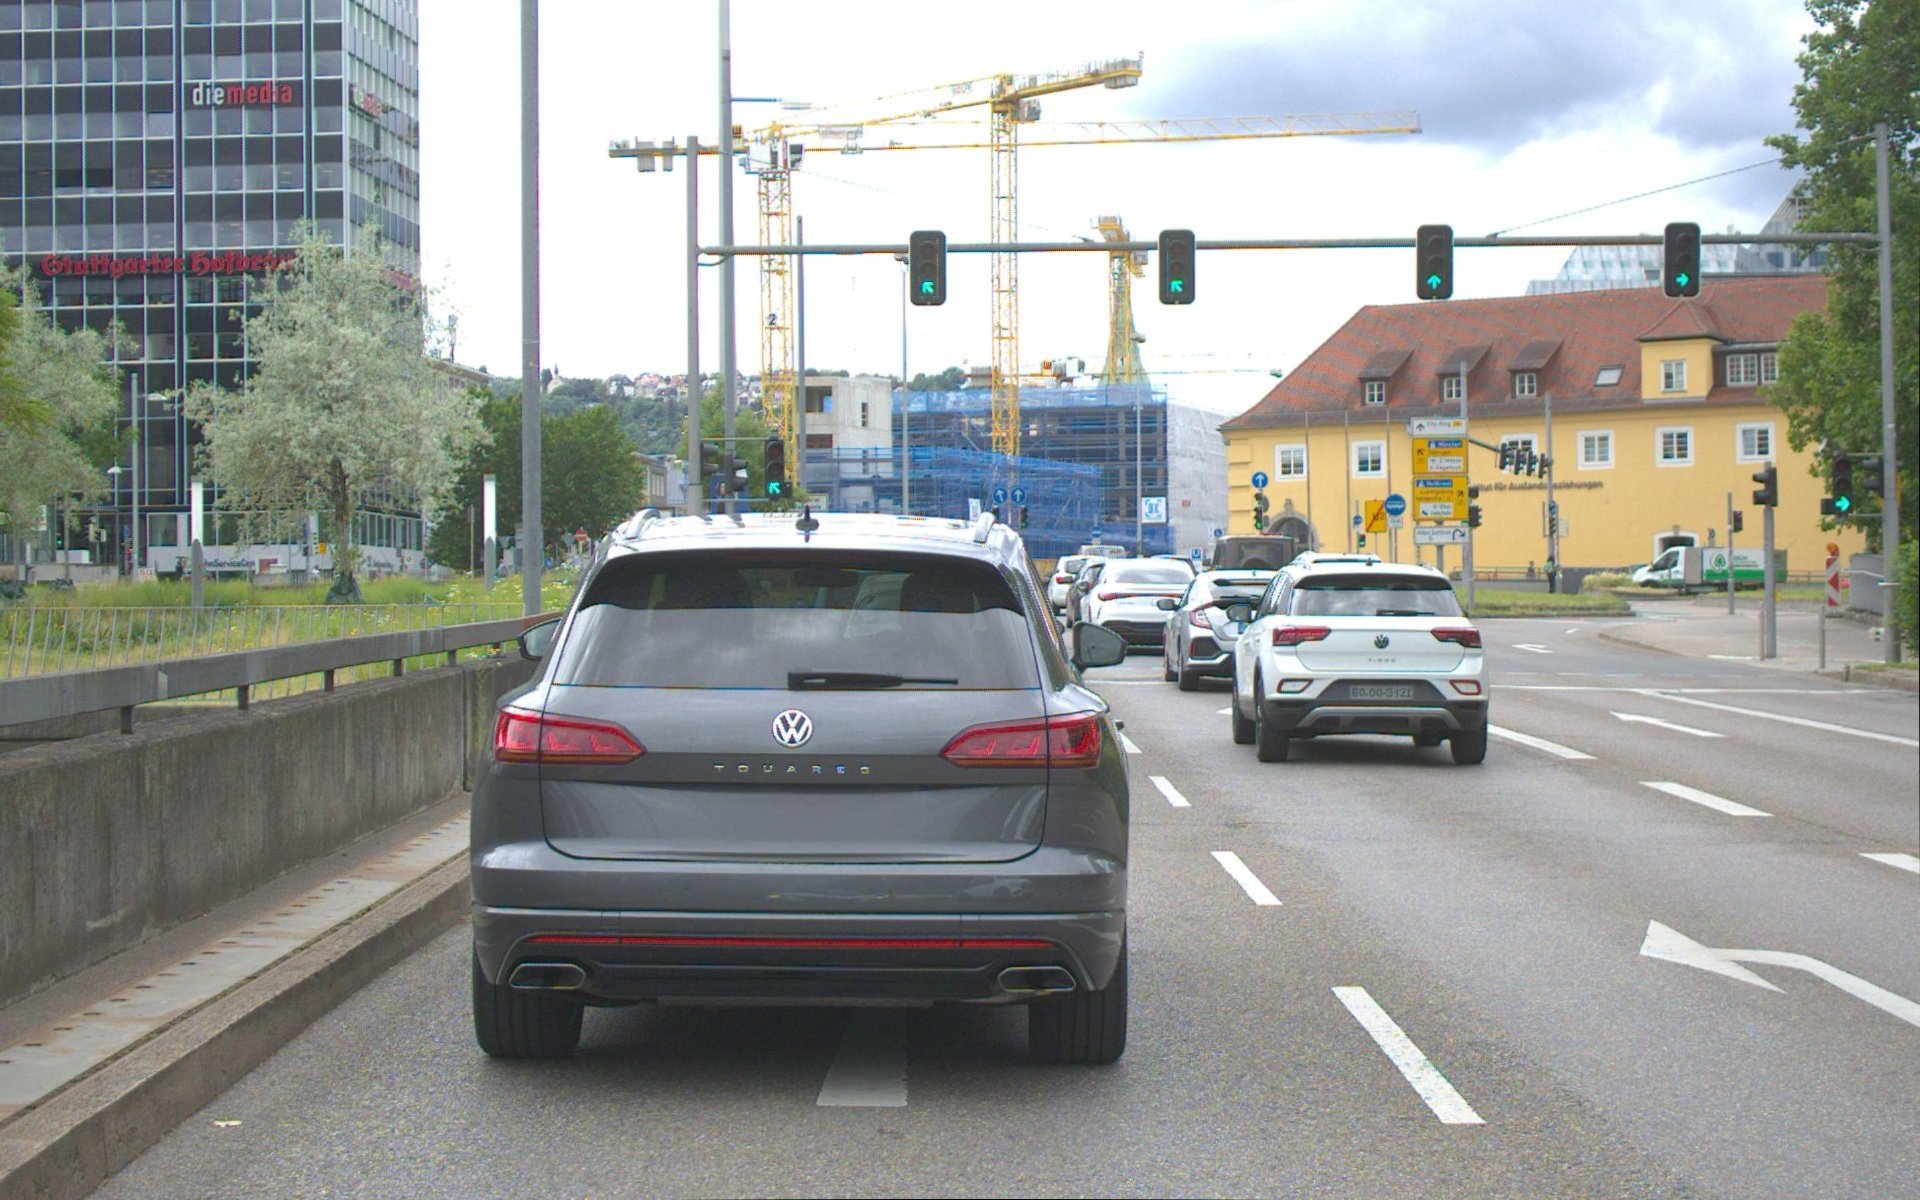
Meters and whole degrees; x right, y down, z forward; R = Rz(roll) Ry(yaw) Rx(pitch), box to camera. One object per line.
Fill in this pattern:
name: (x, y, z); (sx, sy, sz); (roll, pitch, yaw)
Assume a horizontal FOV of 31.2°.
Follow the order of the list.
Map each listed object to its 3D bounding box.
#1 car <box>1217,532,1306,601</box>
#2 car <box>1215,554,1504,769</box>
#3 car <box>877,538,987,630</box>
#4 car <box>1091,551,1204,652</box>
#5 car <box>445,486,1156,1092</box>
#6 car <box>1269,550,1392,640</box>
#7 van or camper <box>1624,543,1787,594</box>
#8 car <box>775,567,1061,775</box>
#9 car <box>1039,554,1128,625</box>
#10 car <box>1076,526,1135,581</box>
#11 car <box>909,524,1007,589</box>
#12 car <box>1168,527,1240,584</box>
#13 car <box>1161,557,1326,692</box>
car: (6.758, -0.776, 77.351); (1.719, 1.497, 3.981); (1, 1, 1)
car: (3.154, 0.440, 27.836); (1.893, 1.580, 3.801); (0, 1, 0)
car: (-0.463, -0.300, 59.082); (1.814, 1.491, 3.906); (0, 1, 0)
car: (2.981, -0.005, 54.551); (1.719, 1.497, 3.981); (1, 1, 3)
car: (-0.439, 0.476, 11.394); (1.933, 1.641, 4.000); (0, 1, 0)
car: (6.487, -0.110, 60.556); (1.803, 1.497, 3.981); (1, 1, 1)
van or camper: (29.549, -1.254, 136.395); (6.017, 2.007, 2.015); (1, 1, 36)
car: (-0.295, 0.476, 26.005); (1.993, 1.382, 4.000); (0, 1, 0)
car: (3.054, -0.272, 85.787); (2.139, 1.722, 4.070); (0, 0, 1)
car: (5.390, -1.743, 127.435); (1.993, 2.007, 4.000); (0, 1, 0)
car: (-0.016, -1.071, 83.145); (2.245, 1.497, 4.611); (1, 1, 1)
car: (6.567, -1.221, 92.792); (1.719, 1.497, 3.981); (1, 1, 1)
car: (3.373, 0.253, 41.547); (1.719, 1.497, 4.144); (1, 1, 1)
